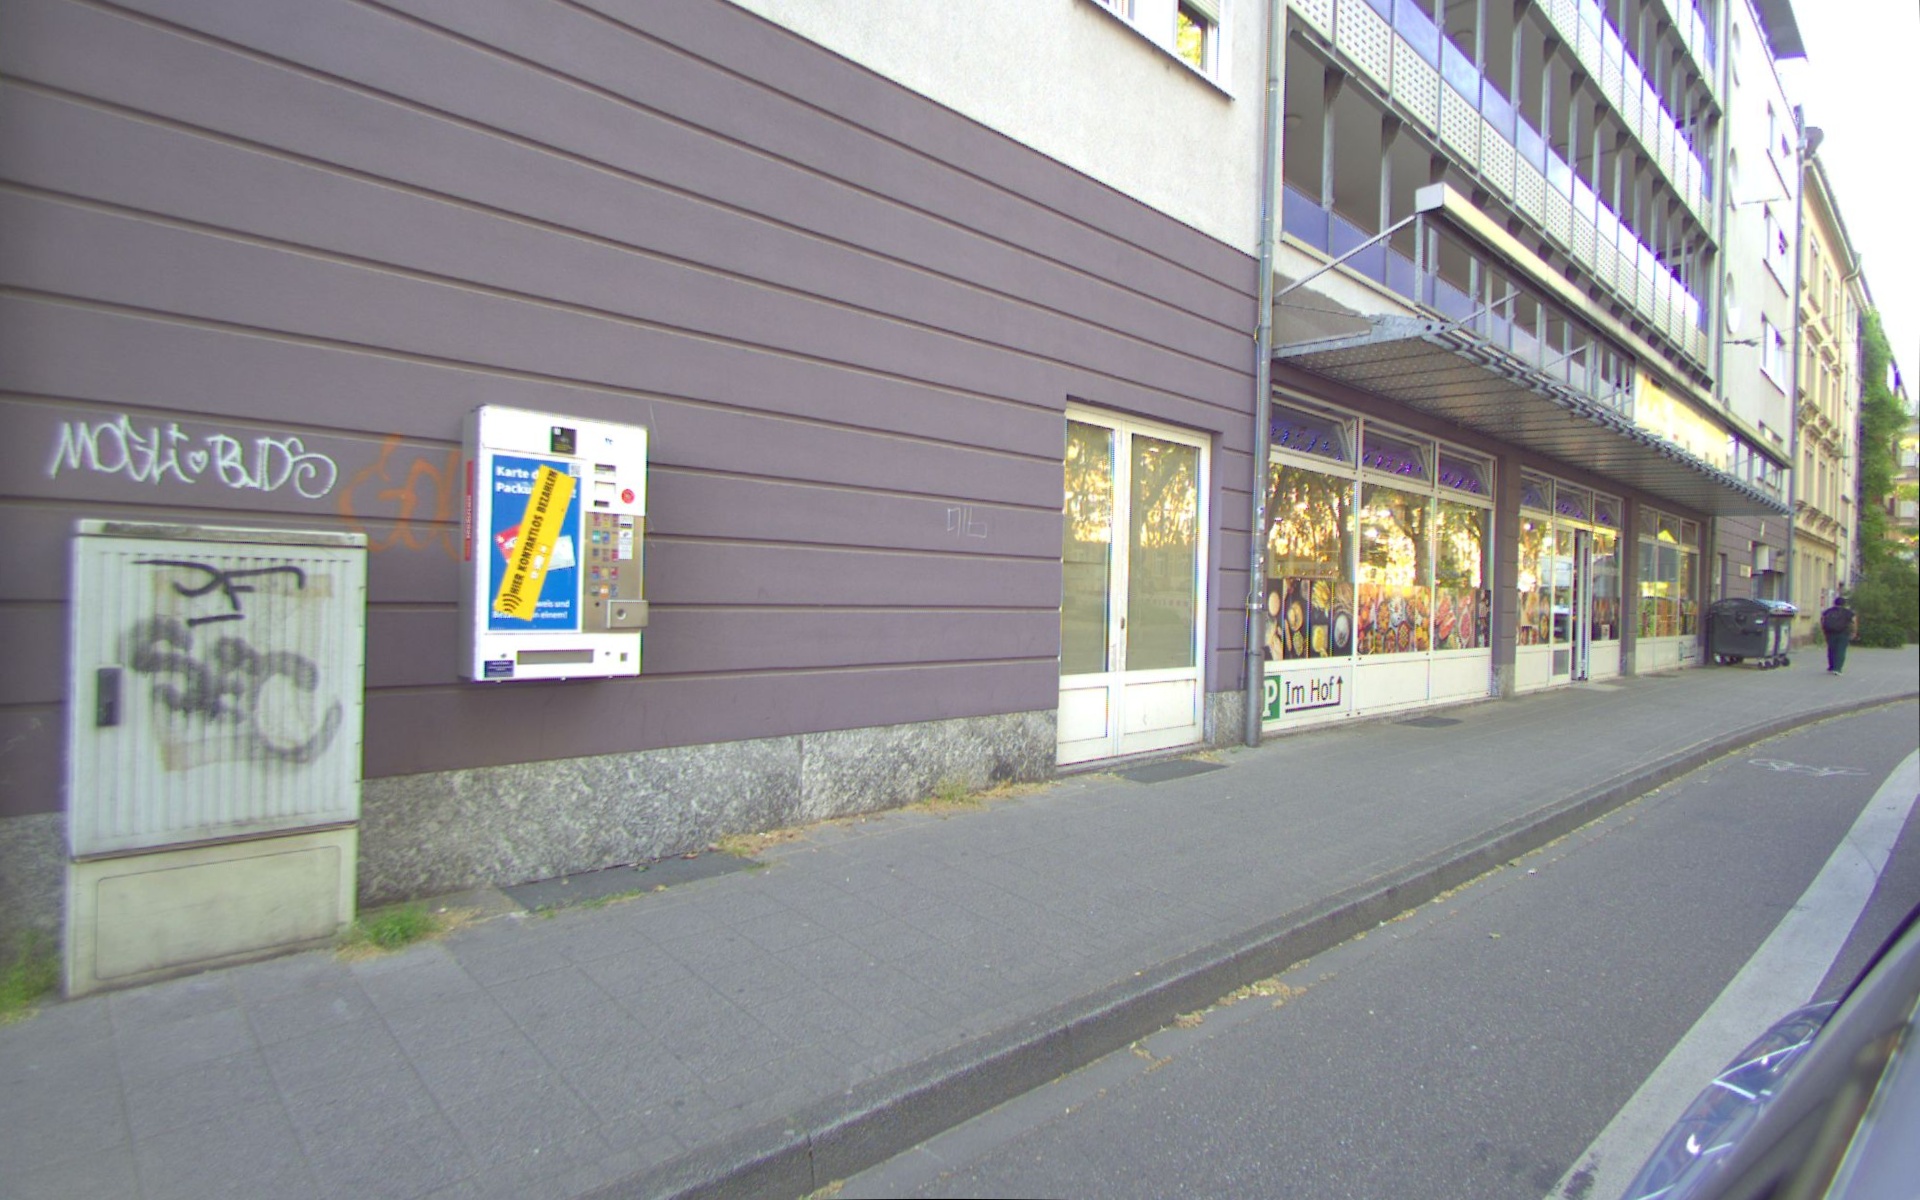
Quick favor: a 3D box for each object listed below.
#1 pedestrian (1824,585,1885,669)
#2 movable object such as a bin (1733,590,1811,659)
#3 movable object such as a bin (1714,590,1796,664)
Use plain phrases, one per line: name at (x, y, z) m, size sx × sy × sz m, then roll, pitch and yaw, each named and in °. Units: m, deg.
pedestrian at (17.650, 0.518, 19.970) m, size 0.862 × 1.612 × 0.613 m, roll 2°, pitch 1°, yaw 44°
movable object such as a bin at (17.773, 0.515, 22.149) m, size 0.923 × 1.444 × 1.158 m, roll 1°, pitch 1°, yaw -40°
movable object such as a bin at (16.315, 0.542, 20.773) m, size 0.923 × 1.444 × 1.158 m, roll 1°, pitch 1°, yaw -40°
